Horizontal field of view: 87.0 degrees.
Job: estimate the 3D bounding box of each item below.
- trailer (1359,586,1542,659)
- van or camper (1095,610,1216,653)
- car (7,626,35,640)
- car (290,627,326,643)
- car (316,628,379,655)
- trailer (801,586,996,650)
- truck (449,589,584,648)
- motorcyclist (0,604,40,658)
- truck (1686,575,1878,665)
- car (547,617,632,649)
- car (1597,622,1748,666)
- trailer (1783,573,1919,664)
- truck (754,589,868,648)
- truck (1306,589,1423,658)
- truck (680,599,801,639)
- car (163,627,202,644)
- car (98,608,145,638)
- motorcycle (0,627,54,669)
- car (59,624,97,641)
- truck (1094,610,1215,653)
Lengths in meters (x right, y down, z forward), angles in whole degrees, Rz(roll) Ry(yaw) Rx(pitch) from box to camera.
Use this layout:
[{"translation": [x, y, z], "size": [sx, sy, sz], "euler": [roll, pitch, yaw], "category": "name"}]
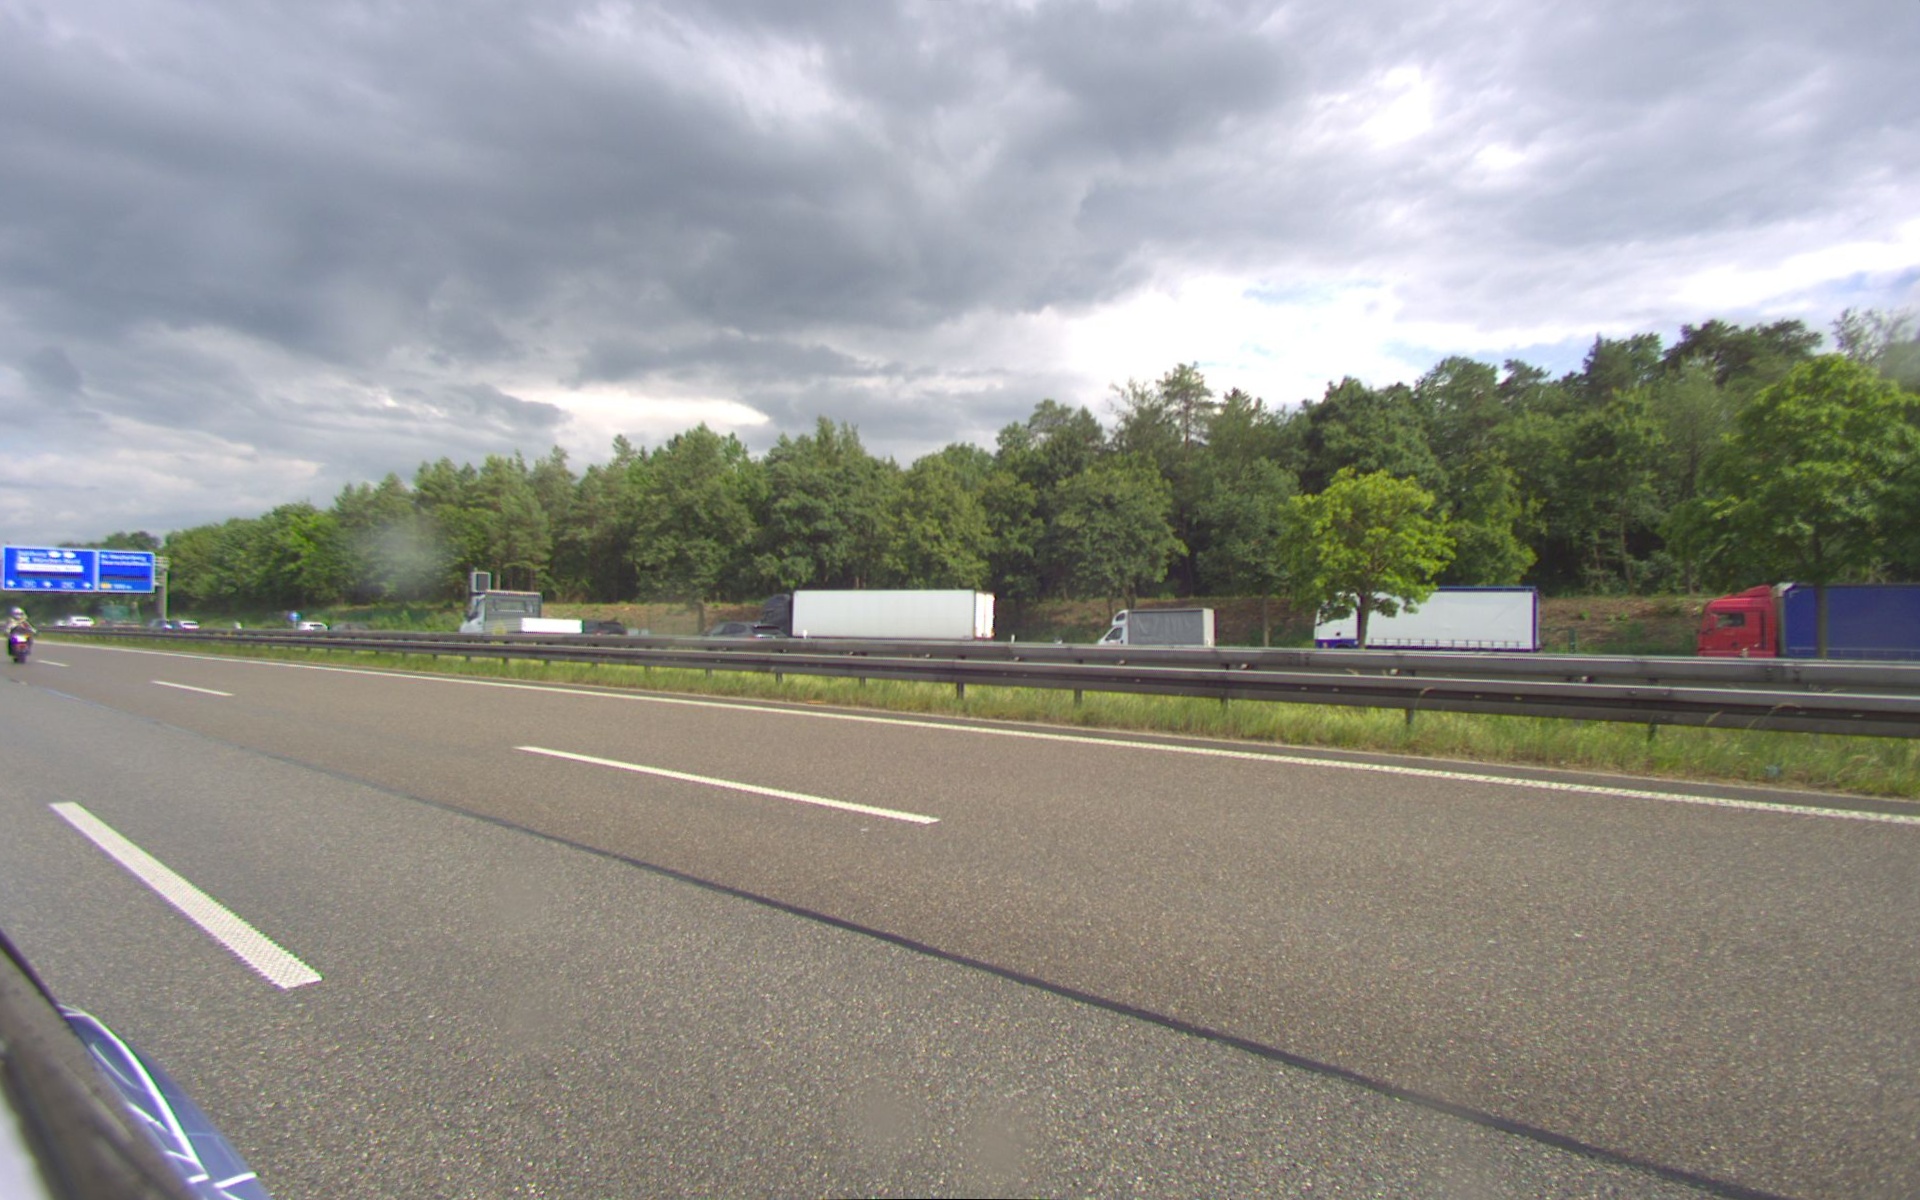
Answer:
[{"translation": [23.464, 1.066, 48.588], "size": [7.715, 3.257, 2.560], "euler": [-1, -1, 32], "category": "trailer"}, {"translation": [10.830, 1.736, 56.327], "size": [6.295, 2.282, 2.104], "euler": [-1, 0, 29], "category": "van or camper"}, {"translation": [-107.533, 3.736, 115.866], "size": [5.419, 1.403, 1.879], "euler": [-1, 0, 41], "category": "car"}, {"translation": [-47.834, 2.573, 74.217], "size": [3.113, 1.065, 1.430], "euler": [-1, 0, 41], "category": "car"}, {"translation": [-35.059, 2.358, 57.891], "size": [4.432, 1.403, 1.811], "euler": [-1, 0, 41], "category": "car"}, {"translation": [-4.049, 1.136, 63.853], "size": [12.509, 3.767, 3.184], "euler": [-1, -2, 28], "category": "trailer"}, {"translation": [-15.475, 0.610, 35.177], "size": [5.444, 1.909, 2.233], "euler": [-1, 0, 41], "category": "truck"}, {"translation": [-30.418, 0.986, 32.710], "size": [1.000, 1.719, 0.872], "euler": [-1, 0, 39], "category": "motorcyclist"}, {"translation": [33.844, 0.789, 41.997], "size": [5.882, 3.482, 2.836], "euler": [-1, 0, 34], "category": "truck"}, {"translation": [-17.287, 1.499, 47.135], "size": [4.432, 1.403, 1.811], "euler": [-1, 0, 41], "category": "car"}, {"translation": [35.796, 2.172, 51.091], "size": [6.115, 2.029, 1.978], "euler": [-1, 0, 33], "category": "car"}, {"translation": [39.660, 0.679, 37.937], "size": [13.393, 3.431, 2.799], "euler": [-1, -2, 35], "category": "trailer"}, {"translation": [-9.866, 1.189, 66.880], "size": [6.882, 3.732, 3.188], "euler": [-1, 0, 27], "category": "truck"}, {"translation": [20.197, 1.117, 50.523], "size": [5.068, 3.292, 2.635], "euler": [-1, 0, 31], "category": "truck"}, {"translation": [-7.250, 0.596, 33.292], "size": [3.998, 1.203, 1.868], "euler": [-1, 0, 41], "category": "truck"}, {"translation": [-73.397, 3.327, 95.507], "size": [5.156, 1.403, 1.953], "euler": [-1, 0, 41], "category": "car"}, {"translation": [-94.982, 2.563, 114.594], "size": [7.341, 3.133, 2.913], "euler": [-1, 0, 41], "category": "car"}, {"translation": [-30.285, 1.518, 32.543], "size": [3.190, 1.235, 1.173], "euler": [-1, 0, 38], "category": "motorcycle"}, {"translation": [-79.556, 2.908, 91.218], "size": [5.419, 1.403, 1.879], "euler": [-1, 0, 41], "category": "car"}, {"translation": [10.803, 1.736, 56.361], "size": [6.290, 2.282, 2.104], "euler": [-1, 0, 29], "category": "truck"}]
